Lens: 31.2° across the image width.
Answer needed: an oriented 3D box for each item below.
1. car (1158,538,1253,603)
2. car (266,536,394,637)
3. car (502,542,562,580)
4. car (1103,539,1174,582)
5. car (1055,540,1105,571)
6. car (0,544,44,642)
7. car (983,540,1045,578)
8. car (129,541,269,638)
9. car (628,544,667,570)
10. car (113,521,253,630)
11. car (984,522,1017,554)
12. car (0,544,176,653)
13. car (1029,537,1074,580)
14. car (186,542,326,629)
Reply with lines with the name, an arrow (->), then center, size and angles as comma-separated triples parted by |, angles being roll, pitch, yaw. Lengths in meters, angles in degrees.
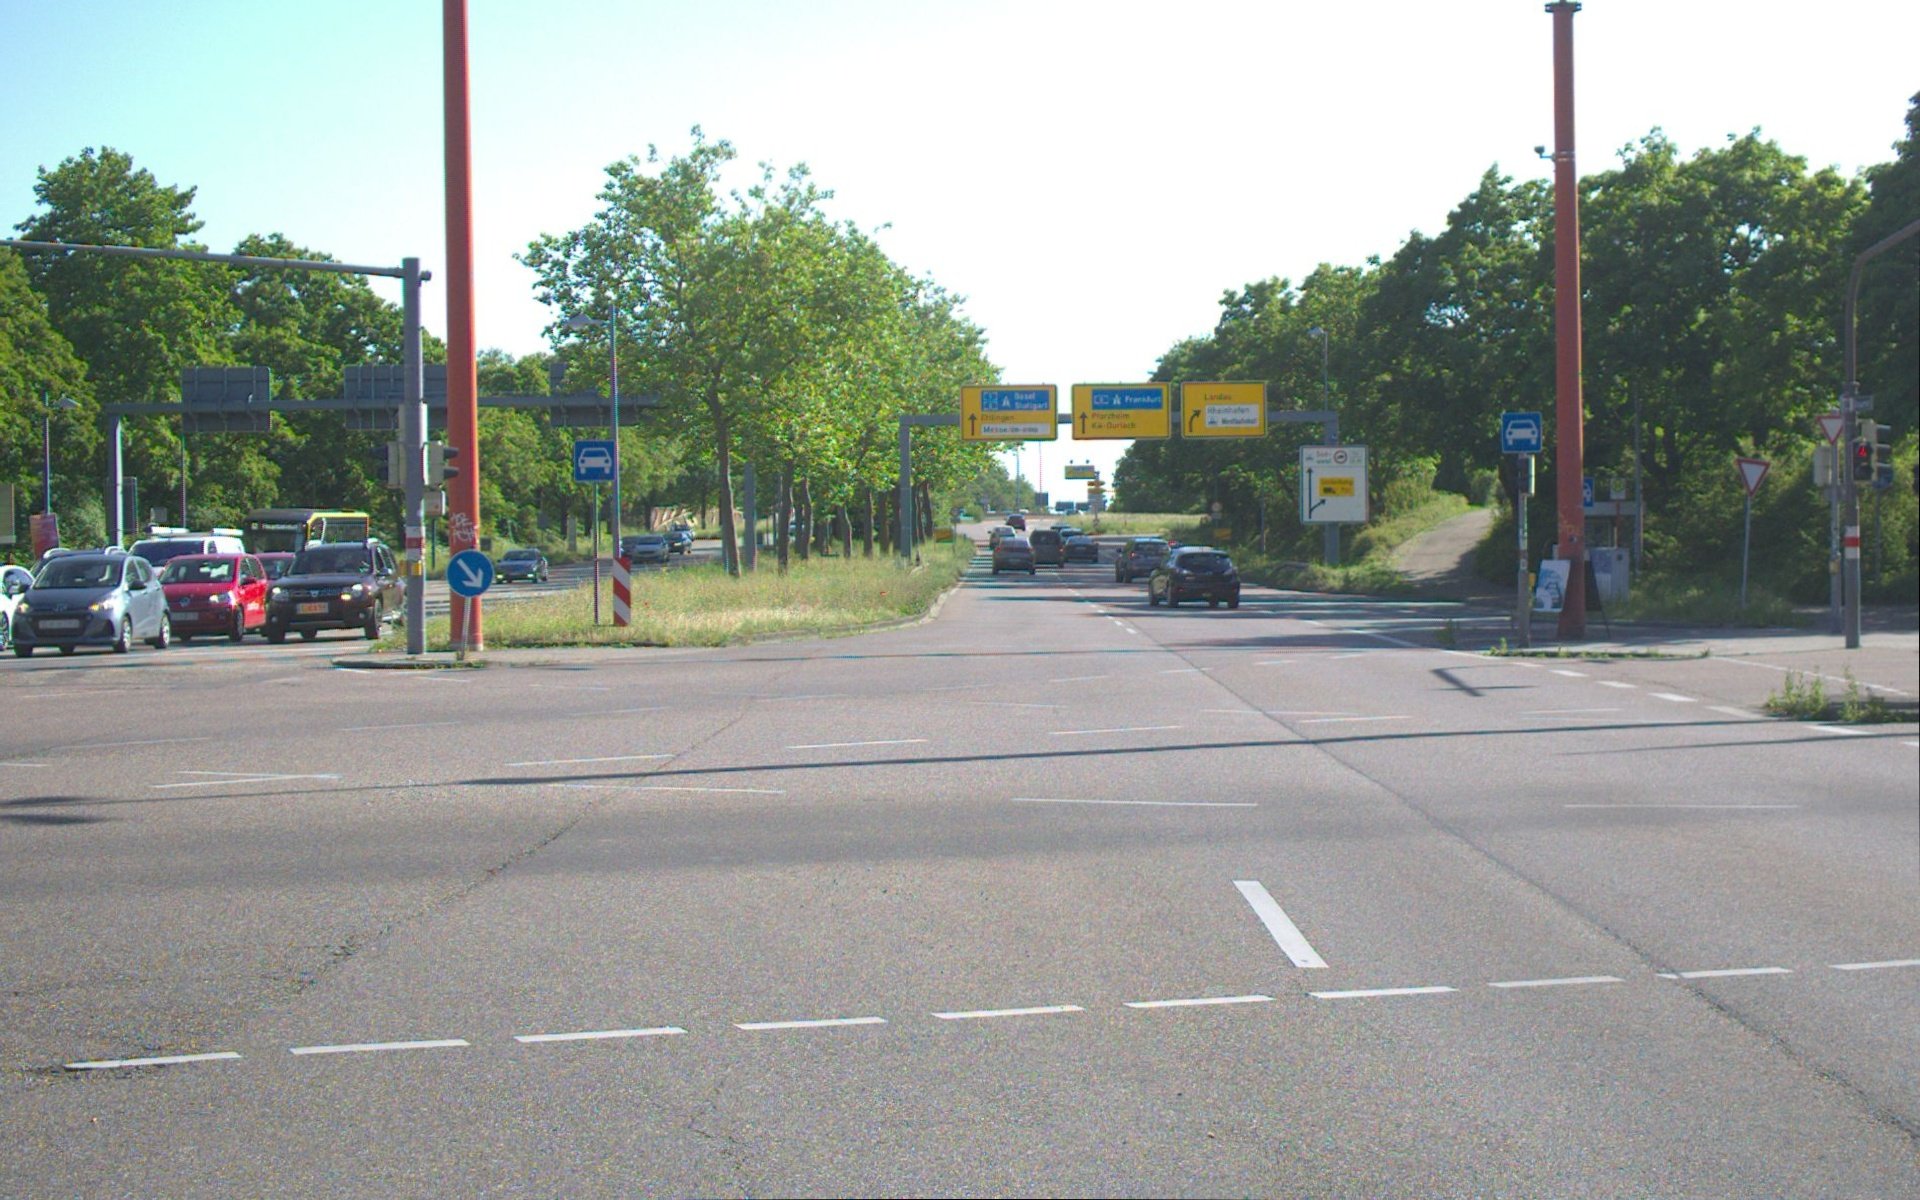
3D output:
car -> 6.092, -0.761, 85.855 | 2.159, 1.568, 4.281 | -1, 1, 1
car -> -10.250, -0.243, 56.151 | 1.876, 1.568, 4.122 | -1, 1, -8
car -> -18.239, -1.683, 146.671 | 1.993, 1.568, 4.121 | -1, 1, 0
car -> 6.695, -1.501, 129.229 | 2.158, 1.568, 4.281 | -1, 1, -4
car -> 6.255, -2.355, 180.353 | 2.158, 1.568, 4.281 | -1, 1, -4
car -> -16.491, -0.116, 57.039 | 1.993, 1.568, 4.122 | -2, 1, -8
car -> 2.296, -1.763, 147.364 | 2.245, 1.568, 4.282 | -1, 1, -5
car -> -12.901, -0.202, 58.472 | 1.993, 1.568, 4.122 | -1, 1, -8
car -> -17.732, -2.450, 195.150 | 1.884, 1.449, 3.656 | -1, 1, 0
car -> -16.116, -0.527, 71.512 | 2.062, 2.185, 4.379 | -1, 1, -2
car -> 2.617, -4.030, 223.794 | 1.993, 2.007, 4.000 | -1, 1, -1
car -> -13.255, -0.050, 52.171 | 1.993, 1.568, 4.121 | -1, 1, -3
car -> 4.384, -2.000, 164.863 | 1.993, 2.007, 4.000 | -1, 1, -1
car -> -13.119, -0.295, 64.251 | 1.993, 1.568, 4.121 | -1, 1, -4
